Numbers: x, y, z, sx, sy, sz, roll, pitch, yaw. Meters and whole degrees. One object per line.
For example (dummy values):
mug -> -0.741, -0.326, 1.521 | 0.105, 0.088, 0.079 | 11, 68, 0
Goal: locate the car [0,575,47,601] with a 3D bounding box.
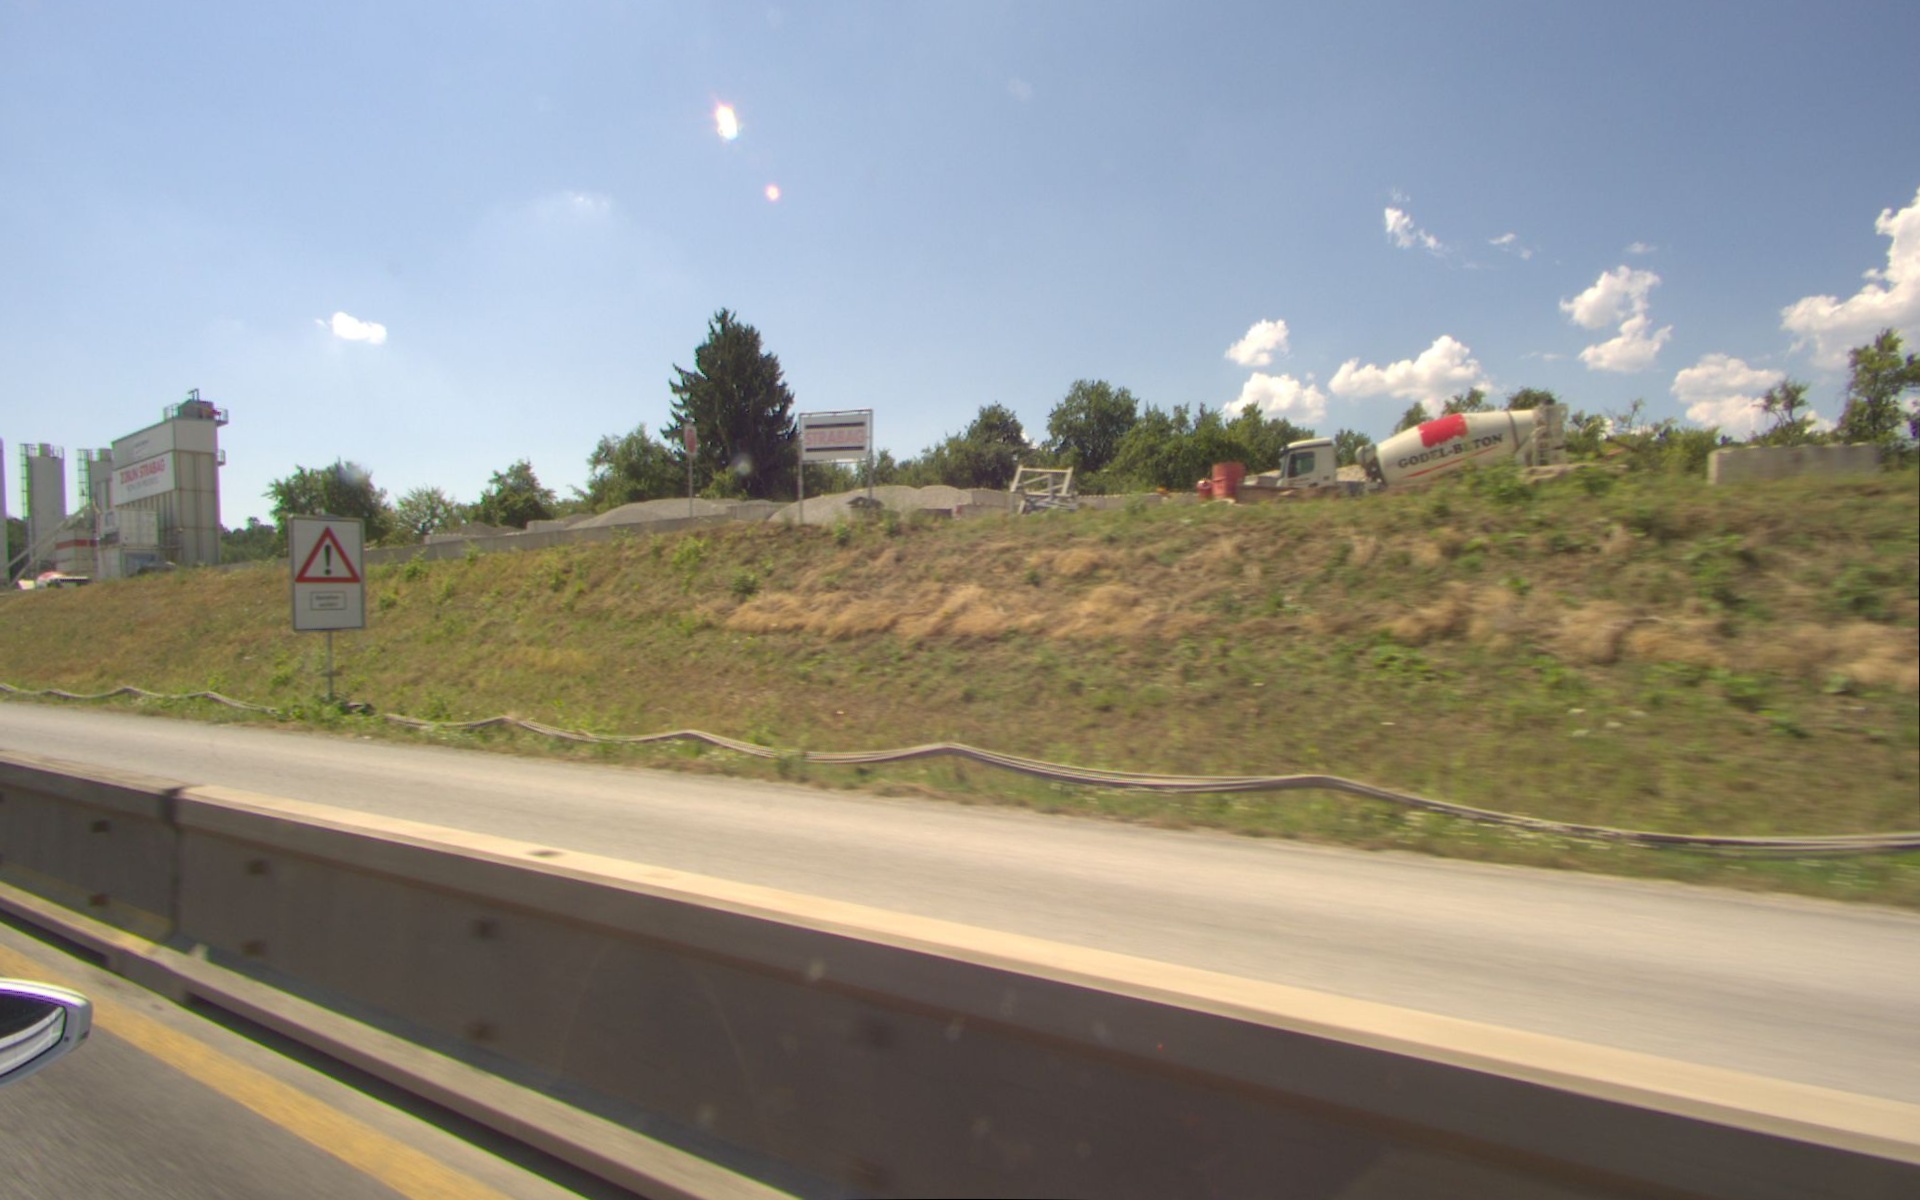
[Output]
car -> -76.758, -0.979, 81.876 | 4.365, 2.040, 1.989 | -1, 0, 33

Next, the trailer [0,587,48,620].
trailer -> -97.699, 0.345, 100.276 | 3.271, 3.271, 9.011 | 0, 0, 18

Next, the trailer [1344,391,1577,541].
trailer -> 16.306, -4.222, 33.099 | 6.634, 4.168, 2.757 | -1, 0, 24

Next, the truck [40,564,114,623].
truck -> -69.453, -0.439, 78.690 | 9.820, 4.353, 3.416 | -1, 0, 43

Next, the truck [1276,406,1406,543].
truck -> 13.135, -4.177, 34.523 | 4.032, 4.150, 2.746 | 0, 0, 24
